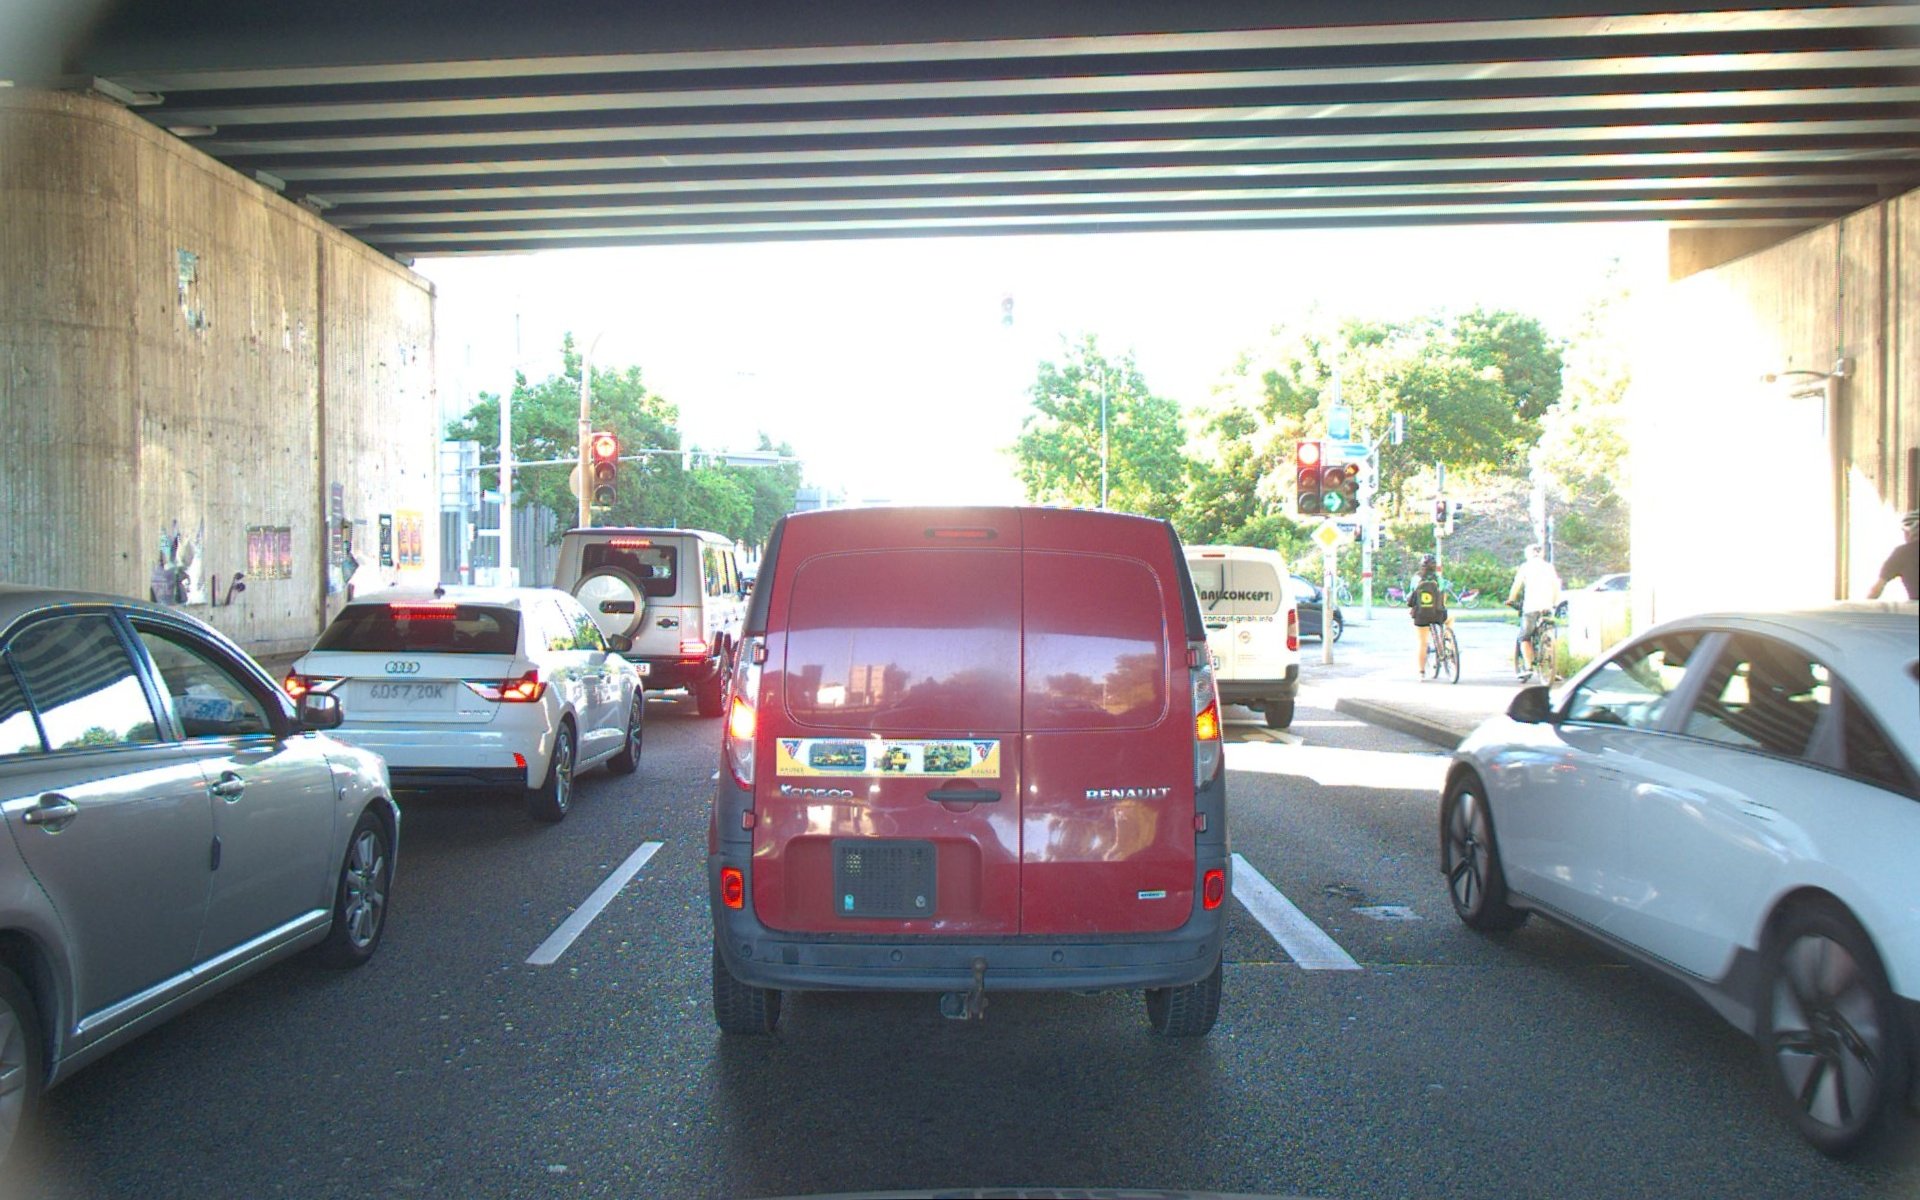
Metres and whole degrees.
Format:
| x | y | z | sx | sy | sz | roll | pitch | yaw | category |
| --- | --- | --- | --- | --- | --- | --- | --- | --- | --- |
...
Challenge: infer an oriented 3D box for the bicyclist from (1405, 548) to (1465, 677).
| x | y | z | sx | sy | sz | roll | pitch | yaw | category |
| --- | --- | --- | --- | --- | --- | --- | --- | --- | --- |
| 6.265 | 0.158 | 21.818 | 0.663 | 1.657 | 0.644 | 1 | 0 | 10 | bicyclist |

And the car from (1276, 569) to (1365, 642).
| x | y | z | sx | sy | sz | roll | pitch | yaw | category |
| --- | --- | --- | --- | --- | --- | --- | --- | --- | --- |
| 7.908 | 0.094 | 36.446 | 1.798 | 1.489 | 3.892 | 1 | 1 | 11 | car |

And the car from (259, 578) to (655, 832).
| x | y | z | sx | sy | sz | roll | pitch | yaw | category |
| --- | --- | --- | --- | --- | --- | --- | --- | --- | --- |
| -3.233 | 0.592 | 11.393 | 1.658 | 1.435 | 3.812 | 1 | 0 | -2 | car |

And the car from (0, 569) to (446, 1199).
| x | y | z | sx | sy | sz | roll | pitch | yaw | category |
| --- | --- | --- | --- | --- | --- | --- | --- | --- | --- |
| -2.999 | 0.649 | 4.899 | 1.662 | 1.480 | 4.397 | 1 | 0 | -2 | car |

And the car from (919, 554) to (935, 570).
| x | y | z | sx | sy | sz | roll | pitch | yaw | category |
| --- | --- | --- | --- | --- | --- | --- | --- | --- | --- |
| -4.388 | -5.065 | 220.427 | 1.953 | 2.049 | 3.999 | 1 | 0 | -1 | car |

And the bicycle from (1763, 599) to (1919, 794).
| x | y | z | sx | sy | sz | roll | pitch | yaw | category |
| --- | --- | --- | --- | --- | --- | --- | --- | --- | --- |
| 6.377 | 0.612 | 11.031 | 0.750 | 1.166 | 2.469 | -2 | 1 | -2 | bicycle |

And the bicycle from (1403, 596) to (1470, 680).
| x | y | z | sx | sy | sz | roll | pitch | yaw | category |
| --- | --- | --- | --- | --- | --- | --- | --- | --- | --- |
| 6.244 | 0.483 | 21.723 | 0.662 | 1.042 | 1.530 | 1 | 0 | 10 | bicycle |

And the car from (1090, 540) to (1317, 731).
| x | y | z | sx | sy | sz | roll | pitch | yaw | category |
| --- | --- | --- | --- | --- | --- | --- | --- | --- | --- |
| 2.580 | 0.307 | 18.521 | 1.777 | 1.865 | 4.299 | 1 | 1 | -2 | car |

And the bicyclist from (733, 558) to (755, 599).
| x | y | z | sx | sy | sz | roll | pitch | yaw | category |
| --- | --- | --- | --- | --- | --- | --- | --- | --- | --- |
| -8.392 | -0.824 | 64.289 | 0.739 | 1.569 | 0.696 | 0 | 0 | 0 | bicyclist |

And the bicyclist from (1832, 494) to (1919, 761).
| x | y | z | sx | sy | sz | roll | pitch | yaw | category |
| --- | --- | --- | --- | --- | --- | --- | --- | --- | --- |
| 6.358 | 0.182 | 10.894 | 0.731 | 1.684 | 0.886 | 1 | 0 | -2 | bicyclist |

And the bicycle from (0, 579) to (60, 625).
| x | y | z | sx | sy | sz | roll | pitch | yaw | category |
| --- | --- | --- | --- | --- | --- | --- | --- | --- | --- |
| -24.720 | 0.048 | 43.900 | 0.621 | 1.186 | 1.877 | 1 | 0 | -1 | bicycle |

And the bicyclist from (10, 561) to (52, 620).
| x | y | z | sx | sy | sz | roll | pitch | yaw | category |
| --- | --- | --- | --- | --- | --- | --- | --- | --- | --- |
| -24.715 | -0.249 | 43.994 | 0.615 | 1.551 | 0.836 | 1 | 0 | -1 | bicyclist |

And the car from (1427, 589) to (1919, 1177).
| x | y | z | sx | sy | sz | roll | pitch | yaw | category |
| --- | --- | --- | --- | --- | --- | --- | --- | --- | --- |
| 3.221 | 0.717 | 5.702 | 1.711 | 1.481 | 4.662 | 1 | 0 | -3 | car |

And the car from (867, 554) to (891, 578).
| x | y | z | sx | sy | sz | roll | pitch | yaw | category |
| --- | --- | --- | --- | --- | --- | --- | --- | --- | --- |
| -7.246 | -3.013 | 148.401 | 1.953 | 2.049 | 3.999 | 1 | 0 | -1 | car |

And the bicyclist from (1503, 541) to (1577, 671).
| x | y | z | sx | sy | sz | roll | pitch | yaw | category |
| --- | --- | --- | --- | --- | --- | --- | --- | --- | --- |
| 7.250 | 0.078 | 20.702 | 0.656 | 1.589 | 0.735 | 0 | 0 | -1 | bicyclist |

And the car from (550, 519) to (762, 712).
| x | y | z | sx | sy | sz | roll | pitch | yaw | category |
| --- | --- | --- | --- | --- | --- | --- | --- | --- | --- |
| -3.329 | 0.147 | 18.801 | 1.777 | 1.937 | 3.812 | 1 | 0 | -2 | car |

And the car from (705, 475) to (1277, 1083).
| x | y | z | sx | sy | sz | roll | pitch | yaw | category |
| --- | --- | --- | --- | --- | --- | --- | --- | --- | --- |
| 0.067 | 0.527 | 6.946 | 1.684 | 1.795 | 3.999 | 1 | 0 | -1 | car |

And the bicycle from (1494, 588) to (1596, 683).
| x | y | z | sx | sy | sz | roll | pitch | yaw | category |
| --- | --- | --- | --- | --- | --- | --- | --- | --- | --- |
| 7.252 | 0.428 | 20.574 | 0.667 | 1.132 | 1.603 | 0 | 0 | -1 | bicycle |
